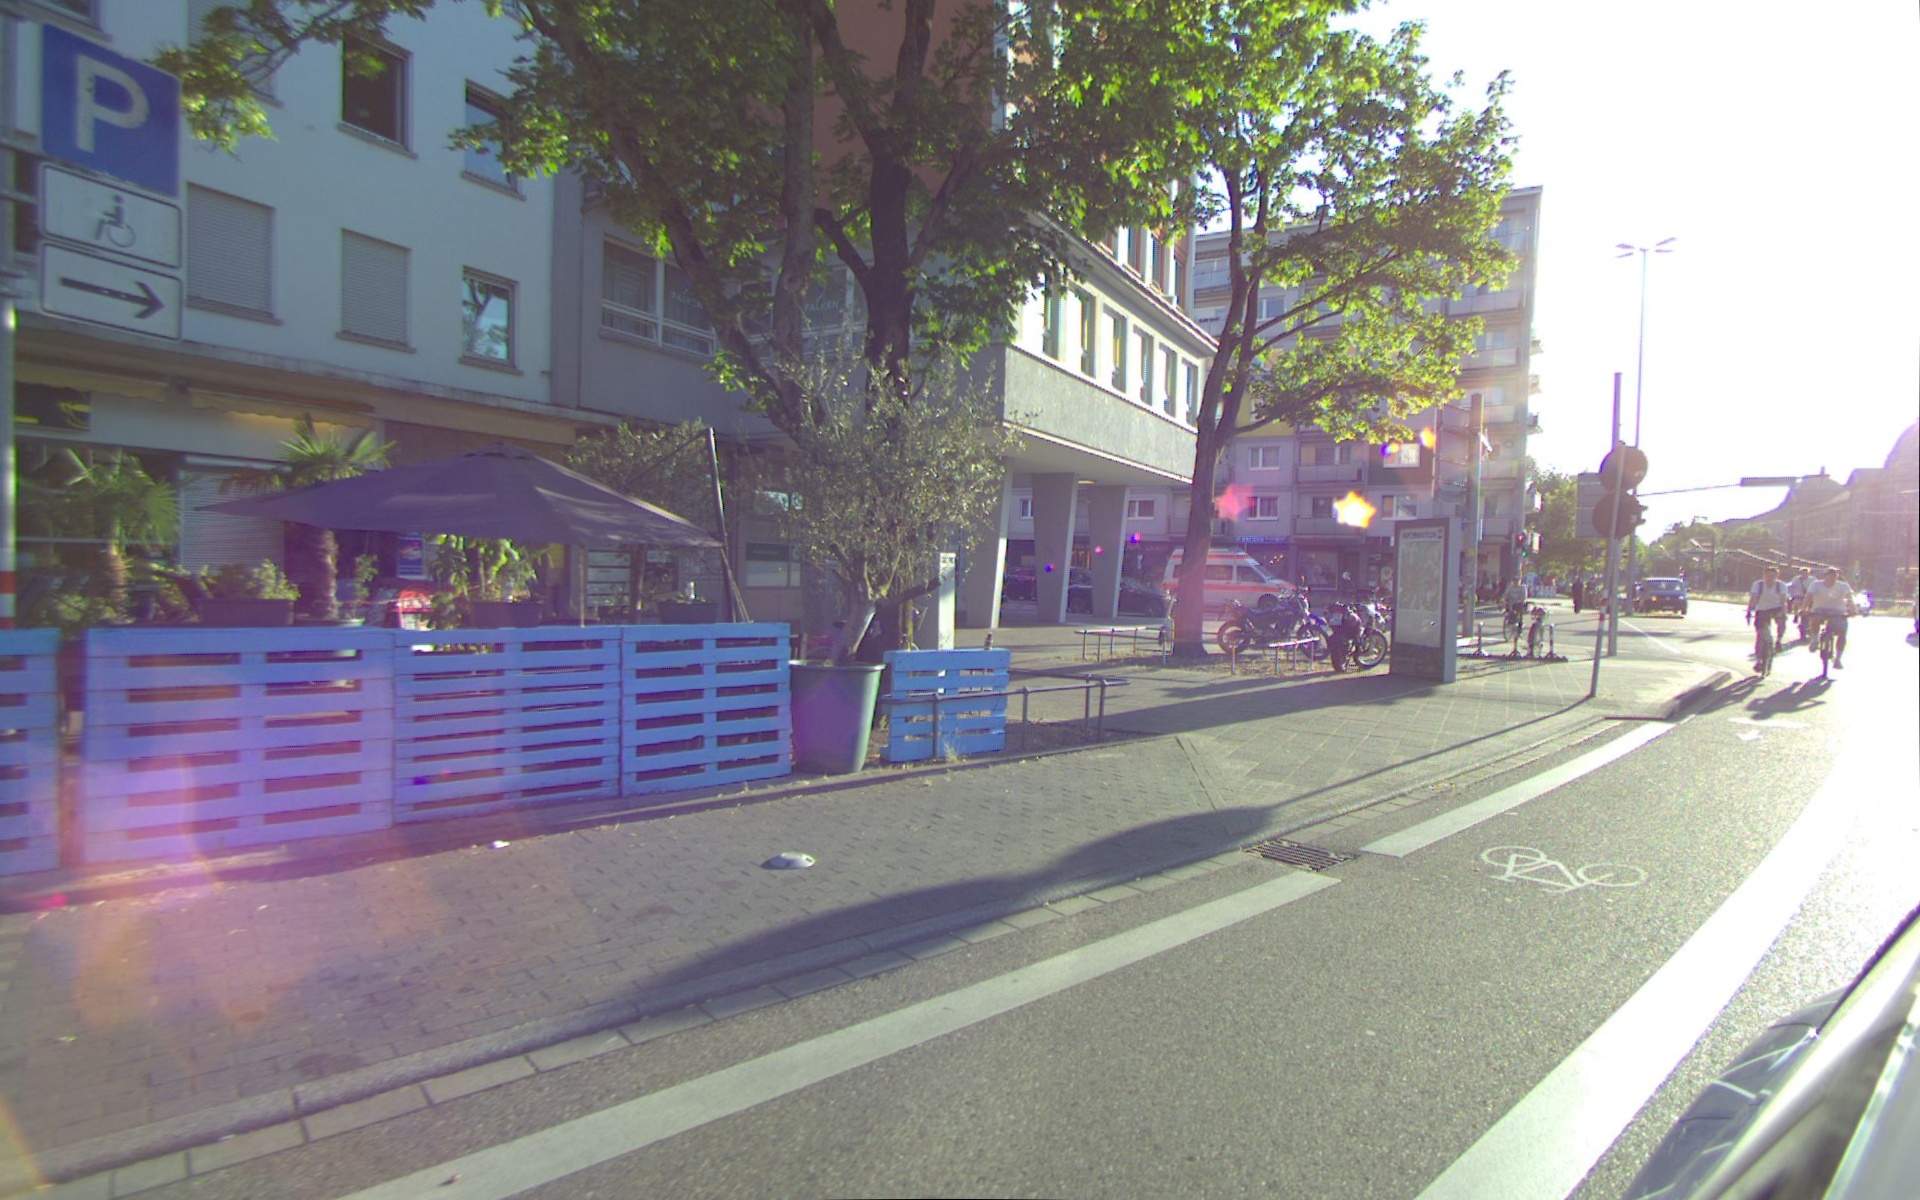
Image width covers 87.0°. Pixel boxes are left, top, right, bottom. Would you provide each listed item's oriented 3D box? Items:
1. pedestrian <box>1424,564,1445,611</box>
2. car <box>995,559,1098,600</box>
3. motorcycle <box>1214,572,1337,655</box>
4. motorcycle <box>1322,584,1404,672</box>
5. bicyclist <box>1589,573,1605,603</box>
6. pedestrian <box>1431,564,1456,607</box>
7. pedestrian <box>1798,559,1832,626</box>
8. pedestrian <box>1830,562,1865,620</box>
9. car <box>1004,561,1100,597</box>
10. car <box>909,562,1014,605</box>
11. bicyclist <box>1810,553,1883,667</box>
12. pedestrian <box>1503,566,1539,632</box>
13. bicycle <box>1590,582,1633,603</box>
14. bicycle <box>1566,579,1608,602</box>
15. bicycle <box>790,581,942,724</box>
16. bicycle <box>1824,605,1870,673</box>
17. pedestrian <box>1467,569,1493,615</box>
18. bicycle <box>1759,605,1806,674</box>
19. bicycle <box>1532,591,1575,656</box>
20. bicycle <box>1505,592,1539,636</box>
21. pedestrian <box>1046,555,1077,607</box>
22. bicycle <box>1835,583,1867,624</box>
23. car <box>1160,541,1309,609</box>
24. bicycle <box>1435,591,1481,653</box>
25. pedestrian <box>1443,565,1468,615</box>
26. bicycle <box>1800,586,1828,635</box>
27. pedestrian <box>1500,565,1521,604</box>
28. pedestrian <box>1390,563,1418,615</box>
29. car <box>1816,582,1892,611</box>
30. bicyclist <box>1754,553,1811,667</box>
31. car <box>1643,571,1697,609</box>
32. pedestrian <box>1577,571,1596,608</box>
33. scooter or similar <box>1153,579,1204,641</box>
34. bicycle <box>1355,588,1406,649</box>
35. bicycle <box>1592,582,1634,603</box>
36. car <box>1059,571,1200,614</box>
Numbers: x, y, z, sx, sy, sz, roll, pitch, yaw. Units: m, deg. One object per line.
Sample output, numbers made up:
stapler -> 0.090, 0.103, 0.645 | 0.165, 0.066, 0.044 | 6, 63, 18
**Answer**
pedestrian -> 17.651, -0.474, 37.648 | 0.566, 1.722, 0.803 | 2, 1, 31
car -> 3.667, -0.887, 42.912 | 4.049, 1.590, 1.581 | 2, 2, 29
motorcycle -> 5.831, 0.213, 18.764 | 2.040, 1.423, 0.750 | 2, 2, 38
motorcycle -> 6.310, 0.390, 15.778 | 0.664, 1.258, 2.173 | 2, 2, 35
bicyclist -> 39.565, -0.749, 62.865 | 0.738, 1.830, 1.370 | 2, 2, 32
pedestrian -> 19.491, -0.587, 40.778 | 0.779, 1.722, 1.016 | 2, 1, 31
pedestrian -> 21.775, -0.190, 25.782 | 0.638, 1.669, 0.831 | 1, 1, 41
pedestrian -> 26.016, -0.271, 29.667 | 0.675, 1.669, 0.890 | 1, 1, 37
car -> 4.148, -0.967, 45.959 | 3.968, 1.482, 1.768 | 2, 2, 31
car -> 0.060, -0.658, 39.417 | 3.746, 1.528, 1.736 | 2, 2, 32
bicyclist -> 14.801, 0.140, 16.930 | 0.825, 1.830, 1.042 | 2, 2, 39
pedestrian -> 14.159, -0.030, 25.539 | 0.673, 1.609, 0.752 | 2, 3, 36
bicycle -> 35.474, -0.403, 55.108 | 1.856, 1.074, 0.601 | 2, 2, 28
bicycle -> 34.918, -0.561, 56.374 | 1.856, 1.139, 0.601 | 5, 3, 26
bicycle -> -0.811, 0.430, 9.223 | 0.418, 1.172, 1.736 | 2, 1, 31
bicycle -> 14.810, 0.623, 16.921 | 0.477, 1.041, 1.954 | 0, 1, 39
pedestrian -> 17.281, -0.272, 33.610 | 0.678, 1.518, 0.738 | 2, 1, 31
bicycle -> 13.632, 0.624, 16.792 | 0.574, 1.041, 1.831 | 1, 1, 39
bicycle -> 11.179, 0.422, 19.069 | 0.641, 1.141, 1.853 | 2, 1, 31
bicycle -> 14.217, 0.343, 25.599 | 0.519, 0.992, 1.826 | 2, 4, 36
pedestrian -> 3.506, -0.668, 34.921 | 0.813, 1.778, 0.632 | 2, 1, 32
bicycle -> 26.111, 0.084, 29.678 | 0.527, 1.173, 1.825 | 1, 1, 36
car -> 10.569, -1.007, 39.137 | 5.222, 2.513, 1.906 | 2, 2, 30
bicycle -> 9.777, 0.407, 19.851 | 0.641, 1.141, 1.853 | 2, 1, 31
pedestrian -> 16.901, -0.346, 34.522 | 0.678, 1.682, 0.738 | 2, 1, 31
bicycle -> 21.745, 0.249, 25.757 | 0.528, 1.173, 1.822 | 1, 1, 40
pedestrian -> 23.466, -0.659, 43.133 | 0.679, 1.609, 0.737 | 2, 1, 34
pedestrian -> 14.835, -0.377, 33.780 | 0.724, 1.682, 0.896 | 2, 1, 31
car -> 47.203, -0.212, 53.539 | 1.825, 1.418, 4.543 | -1, 1, 26
bicyclist -> 13.681, 0.139, 16.851 | 0.673, 1.830, 0.980 | 2, 2, 39
car -> 38.798, -0.568, 55.403 | 1.927, 1.957, 4.781 | 2, 2, 30
pedestrian -> 29.608, -0.516, 47.816 | 0.659, 1.725, 1.058 | 2, 1, 34
scooter or similar -> 4.572, 0.195, 21.151 | 1.162, 1.270, 0.416 | 0, 2, -41
bicycle -> 8.576, 0.352, 20.579 | 0.641, 1.172, 2.101 | 2, 1, 31
bicycle -> 35.190, -0.424, 54.560 | 1.856, 1.074, 0.601 | 2, 2, 28
car -> 6.032, -0.297, 36.162 | 4.640, 1.357, 1.819 | 2, 2, 32
